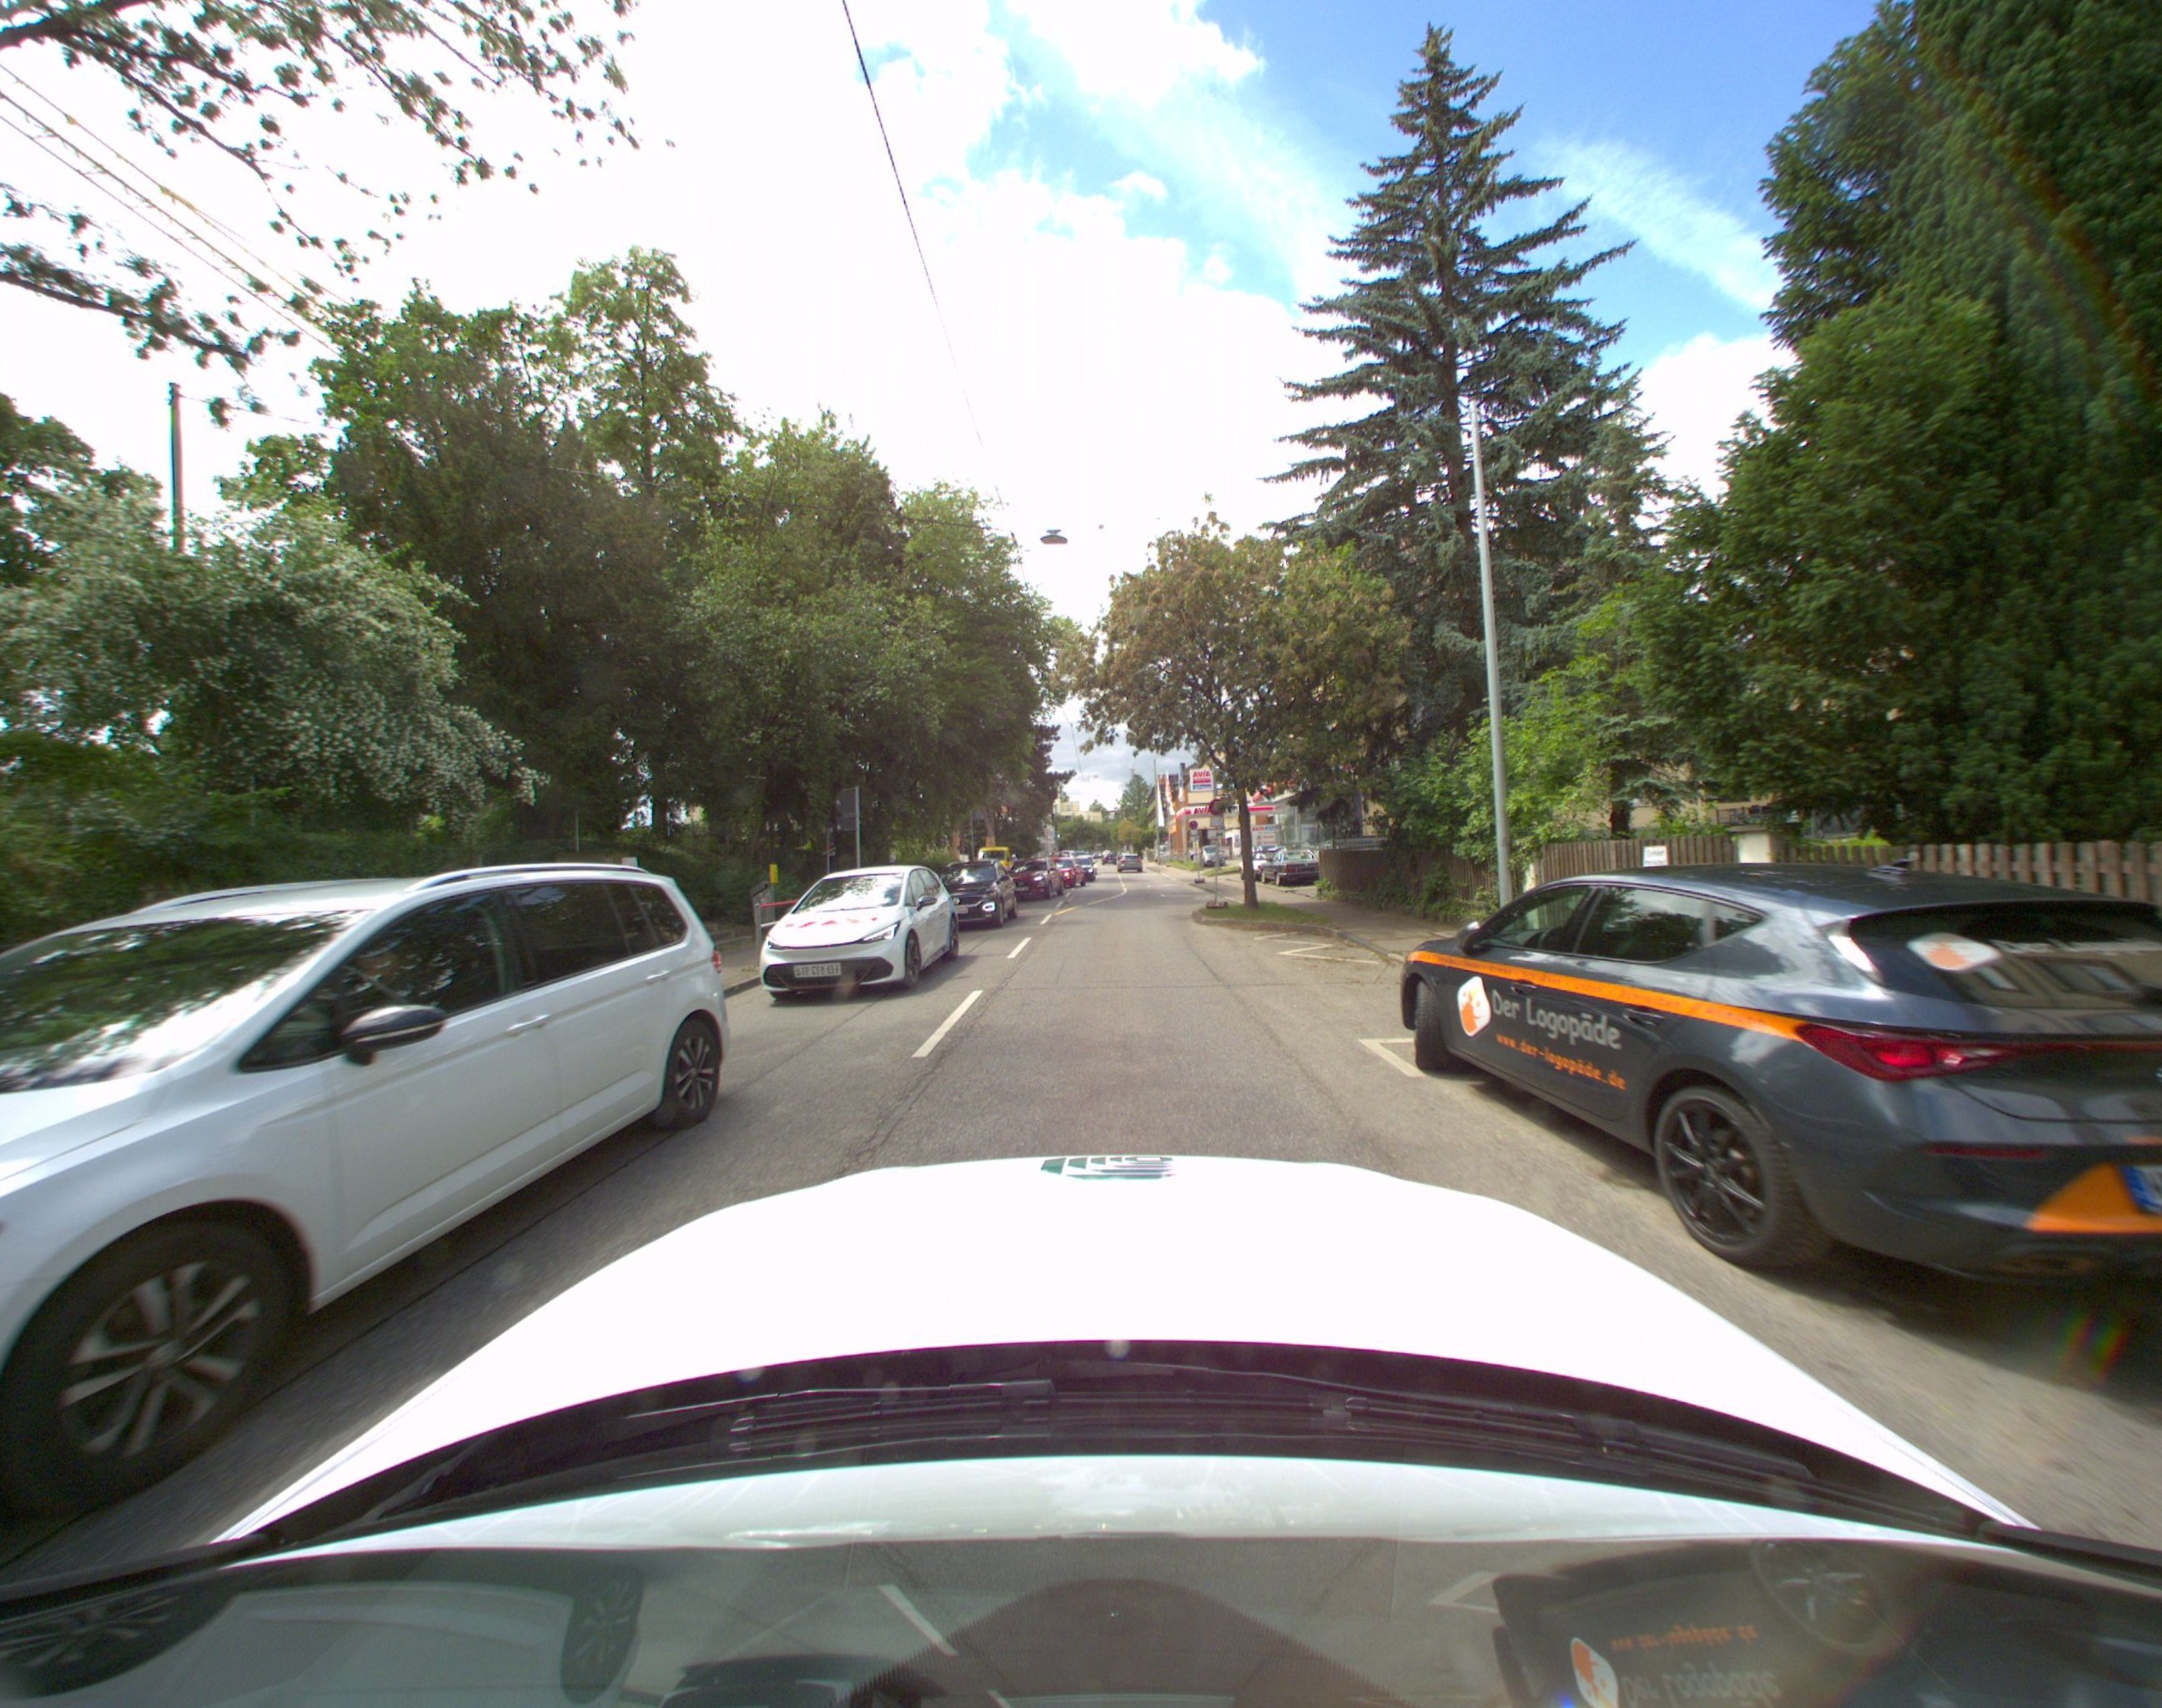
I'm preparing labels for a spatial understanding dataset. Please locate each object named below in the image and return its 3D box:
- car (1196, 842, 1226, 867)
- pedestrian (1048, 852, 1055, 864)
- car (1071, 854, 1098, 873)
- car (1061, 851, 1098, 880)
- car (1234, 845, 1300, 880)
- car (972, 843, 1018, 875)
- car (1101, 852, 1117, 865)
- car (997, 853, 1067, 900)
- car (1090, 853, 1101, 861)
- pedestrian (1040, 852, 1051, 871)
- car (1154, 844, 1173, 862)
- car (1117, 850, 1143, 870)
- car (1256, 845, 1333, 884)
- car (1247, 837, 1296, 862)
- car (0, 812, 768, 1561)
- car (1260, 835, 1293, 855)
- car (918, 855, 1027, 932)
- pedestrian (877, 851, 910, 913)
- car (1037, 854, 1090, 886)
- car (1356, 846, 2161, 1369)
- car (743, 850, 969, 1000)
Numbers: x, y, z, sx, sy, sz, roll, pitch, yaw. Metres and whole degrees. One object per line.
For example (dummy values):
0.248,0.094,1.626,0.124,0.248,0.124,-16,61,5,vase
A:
9.557,0.047,59.970,1.776,1.634,3.697,-5,0,5,car
-3.618,0.469,100.552,0.701,1.439,0.715,-2,-1,5,pedestrian
0.288,0.718,62.145,1.952,1.394,4.297,-2,-1,1,car
-0.029,0.657,47.846,1.921,1.578,4.299,-2,-1,3,car
8.044,0.335,35.627,1.718,1.364,4.482,-2,0,-1,car
-5.630,0.326,54.142,2.136,1.981,4.936,-2,-1,4,car
3.489,0.504,100.972,1.810,1.501,4.266,-1,0,0,car
-1.794,0.802,31.155,1.752,1.533,4.106,-4,0,9,car
2.939,0.556,165.158,2.101,1.501,4.272,-2,0,4,car
-2.762,0.600,63.658,0.705,1.439,0.711,-2,-1,-10,pedestrian
10.023,-0.116,99.070,1.985,2.014,4.003,-2,-1,3,car
3.882,0.451,65.062,1.968,1.513,4.269,1,0,2,car
7.899,0.347,30.575,1.719,1.316,4.265,-2,0,-1,car
11.599,-0.268,49.774,1.837,1.355,4.065,-2,0,-2,car
-3.253,0.784,3.574,1.779,1.648,4.492,-4,0,2,car
17.534,-0.782,73.011,1.780,1.634,3.688,-5,0,-3,car
-2.522,0.859,19.933,1.781,1.542,4.267,-4,0,3,car
-5.566,0.820,24.210,0.712,1.762,1.120,-2,-1,-4,pedestrian
-0.816,0.760,40.120,1.678,1.425,3.451,-2,-1,15,car
3.221,0.690,4.524,1.818,1.417,4.508,-1,0,-1,car
-2.855,0.804,11.367,1.778,1.591,4.155,-4,0,2,car
